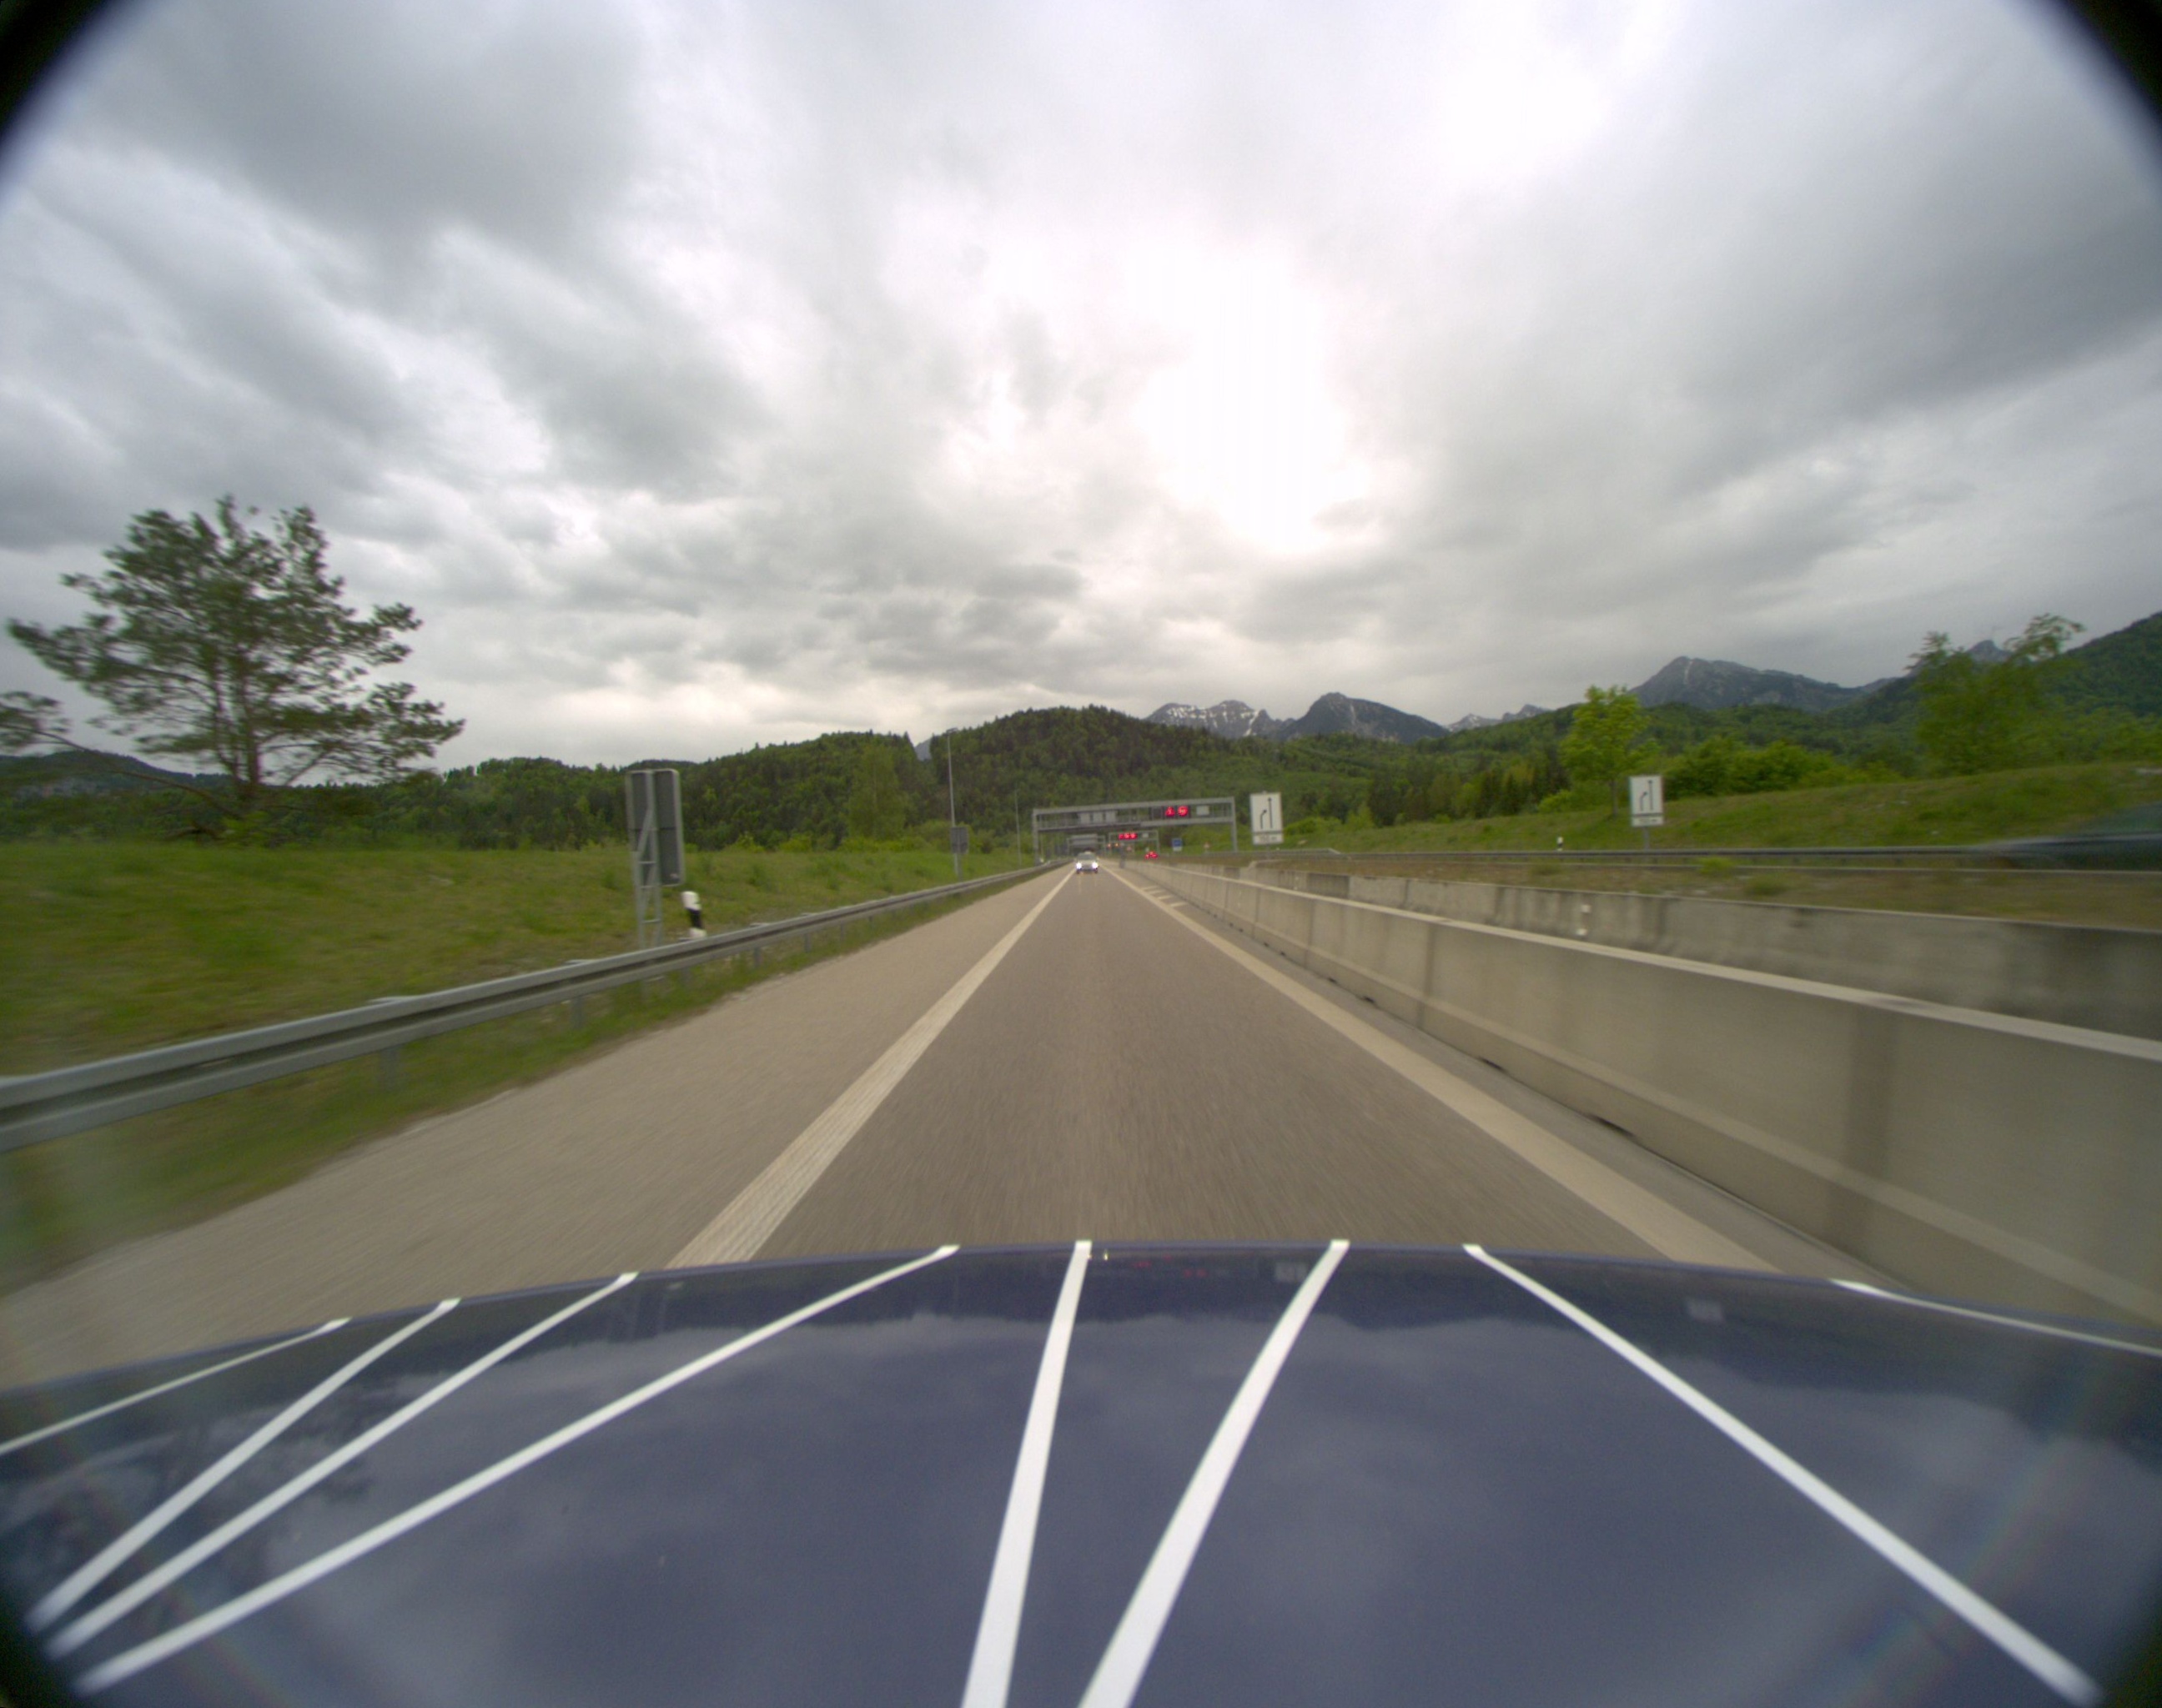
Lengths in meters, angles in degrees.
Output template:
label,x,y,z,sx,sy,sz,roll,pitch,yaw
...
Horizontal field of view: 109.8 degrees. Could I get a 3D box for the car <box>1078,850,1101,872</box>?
label,x,y,z,sx,sy,sz,roll,pitch,yaw
car,0.820,0.591,70.001,1.922,1.871,5.138,-1,1,2

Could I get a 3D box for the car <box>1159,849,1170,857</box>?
label,x,y,z,sx,sy,sz,roll,pitch,yaw
car,18.168,-0.305,165.895,1.772,1.598,4.405,-3,0,0

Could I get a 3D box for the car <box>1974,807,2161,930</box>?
label,x,y,z,sx,sy,sz,roll,pitch,yaw
car,14.759,0.155,9.749,1.706,1.565,4.176,-3,0,1

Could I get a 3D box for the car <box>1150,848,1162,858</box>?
label,x,y,z,sx,sy,sz,roll,pitch,yaw
car,14.490,-0.151,147.180,1.883,1.726,5.751,-3,0,0
